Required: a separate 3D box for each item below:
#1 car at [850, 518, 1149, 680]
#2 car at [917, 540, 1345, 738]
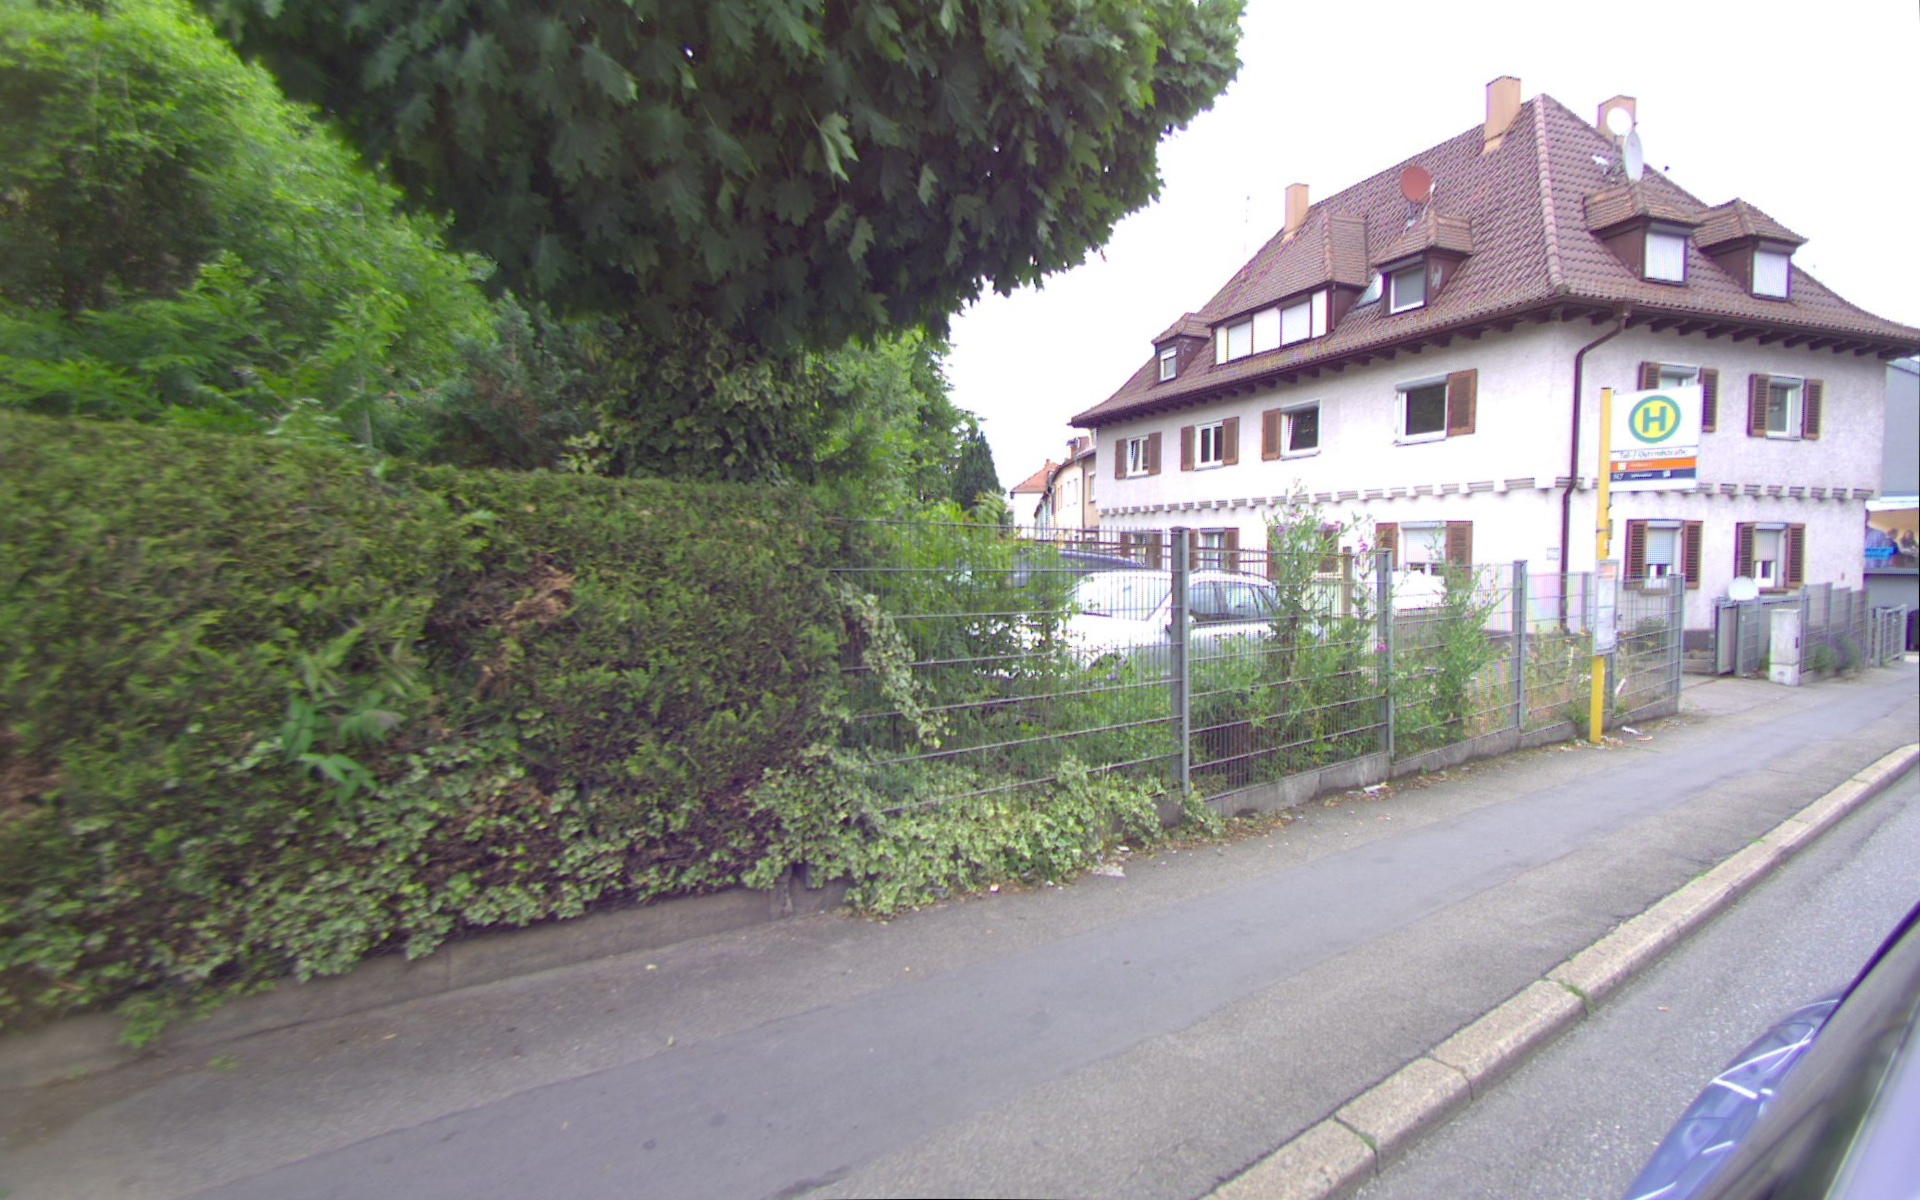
[{"bbox_3d":[0.528,-0.045,14.509,3.925,2.038,2.000,2,1,1],"label":"car"},{"bbox_3d":[1.778,0.270,9.565,4.193,1.439,1.801,1,2,-44],"label":"car"}]
